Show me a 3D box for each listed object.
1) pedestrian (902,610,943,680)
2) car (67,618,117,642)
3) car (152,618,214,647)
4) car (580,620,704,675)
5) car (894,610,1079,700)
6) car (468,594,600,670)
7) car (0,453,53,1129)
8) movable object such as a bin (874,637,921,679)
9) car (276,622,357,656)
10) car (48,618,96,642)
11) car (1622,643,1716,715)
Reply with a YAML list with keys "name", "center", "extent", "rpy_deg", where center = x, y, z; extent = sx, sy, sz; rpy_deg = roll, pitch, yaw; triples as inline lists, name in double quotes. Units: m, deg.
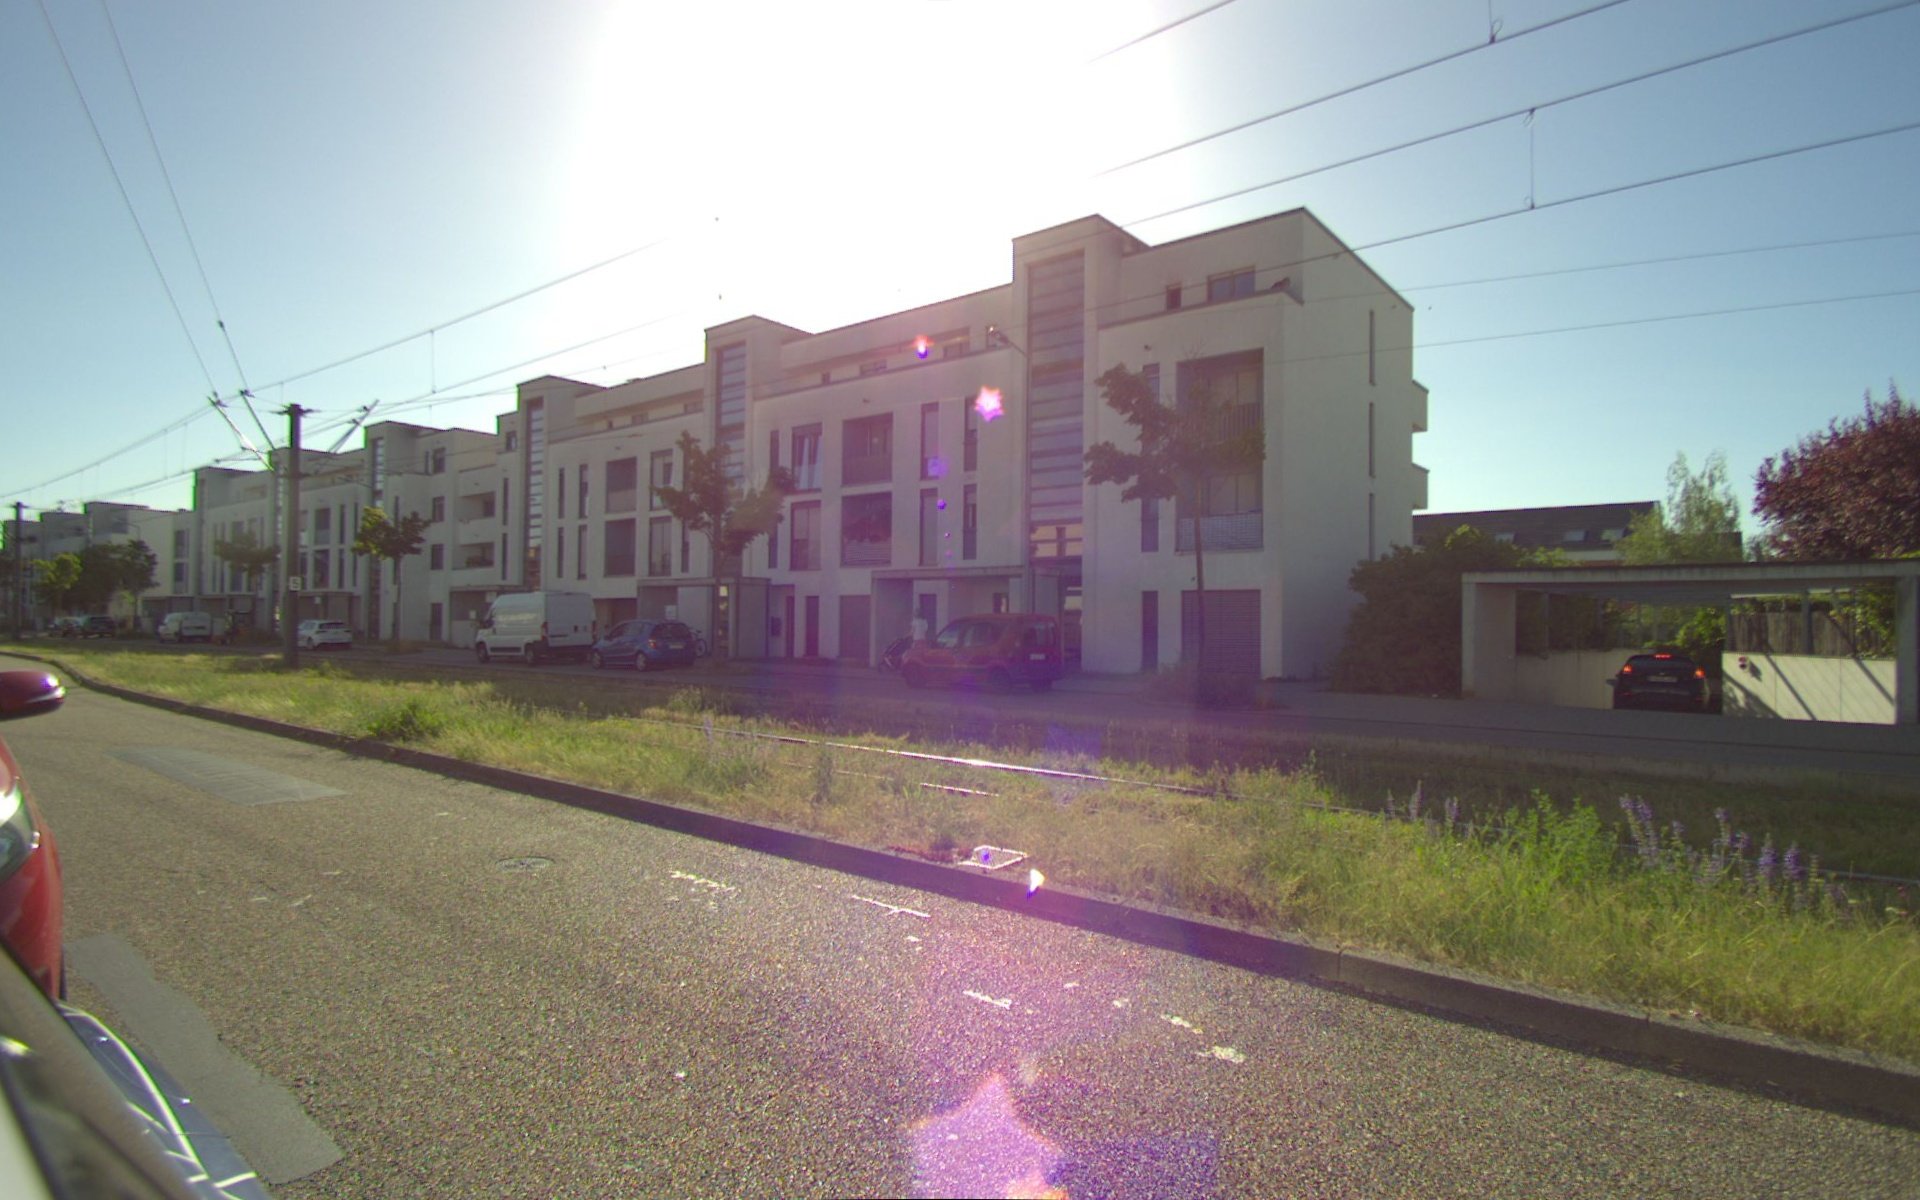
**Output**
- name: "pedestrian"
  center: [-1.002, 1.181, 26.969]
  extent: [0.785, 1.836, 0.766]
  rpy_deg: [-1, 0, 41]
- name: "car"
  center: [-62.966, 2.162, 73.398]
  extent: [4.277, 1.693, 1.900]
  rpy_deg: [-1, 0, 37]
- name: "car"
  center: [-47.345, 1.959, 61.617]
  extent: [4.277, 1.693, 1.900]
  rpy_deg: [-1, 0, 37]
- name: "car"
  center: [-9.989, 1.447, 31.733]
  extent: [3.833, 1.556, 1.973]
  rpy_deg: [-1, 0, 40]
- name: "car"
  center: [0.549, 1.168, 23.012]
  extent: [3.895, 1.842, 1.972]
  rpy_deg: [-1, 0, 43]
- name: "car"
  center: [-15.184, 1.074, 35.938]
  extent: [5.193, 2.491, 2.197]
  rpy_deg: [-1, 0, 40]
- name: "car"
  center: [-4.879, 0.555, 3.663]
  extent: [4.505, 1.868, 1.850]
  rpy_deg: [-1, 0, 41]
- name: "movable object such as a bin"
  center: [-1.699, 1.574, 27.594]
  extent: [1.083, 1.062, 0.719]
  rpy_deg: [-1, 0, 42]
- name: "car"
  center: [-31.125, 1.837, 48.892]
  extent: [4.277, 1.517, 1.900]
  rpy_deg: [-1, 0, 37]
- name: "car"
  center: [-67.511, 2.252, 76.922]
  extent: [4.277, 1.693, 1.900]
  rpy_deg: [-1, 0, 37]
- name: "car"
  center: [15.750, 1.792, 22.408]
  extent: [1.574, 1.337, 3.950]
  rpy_deg: [-1, -7, 37]
